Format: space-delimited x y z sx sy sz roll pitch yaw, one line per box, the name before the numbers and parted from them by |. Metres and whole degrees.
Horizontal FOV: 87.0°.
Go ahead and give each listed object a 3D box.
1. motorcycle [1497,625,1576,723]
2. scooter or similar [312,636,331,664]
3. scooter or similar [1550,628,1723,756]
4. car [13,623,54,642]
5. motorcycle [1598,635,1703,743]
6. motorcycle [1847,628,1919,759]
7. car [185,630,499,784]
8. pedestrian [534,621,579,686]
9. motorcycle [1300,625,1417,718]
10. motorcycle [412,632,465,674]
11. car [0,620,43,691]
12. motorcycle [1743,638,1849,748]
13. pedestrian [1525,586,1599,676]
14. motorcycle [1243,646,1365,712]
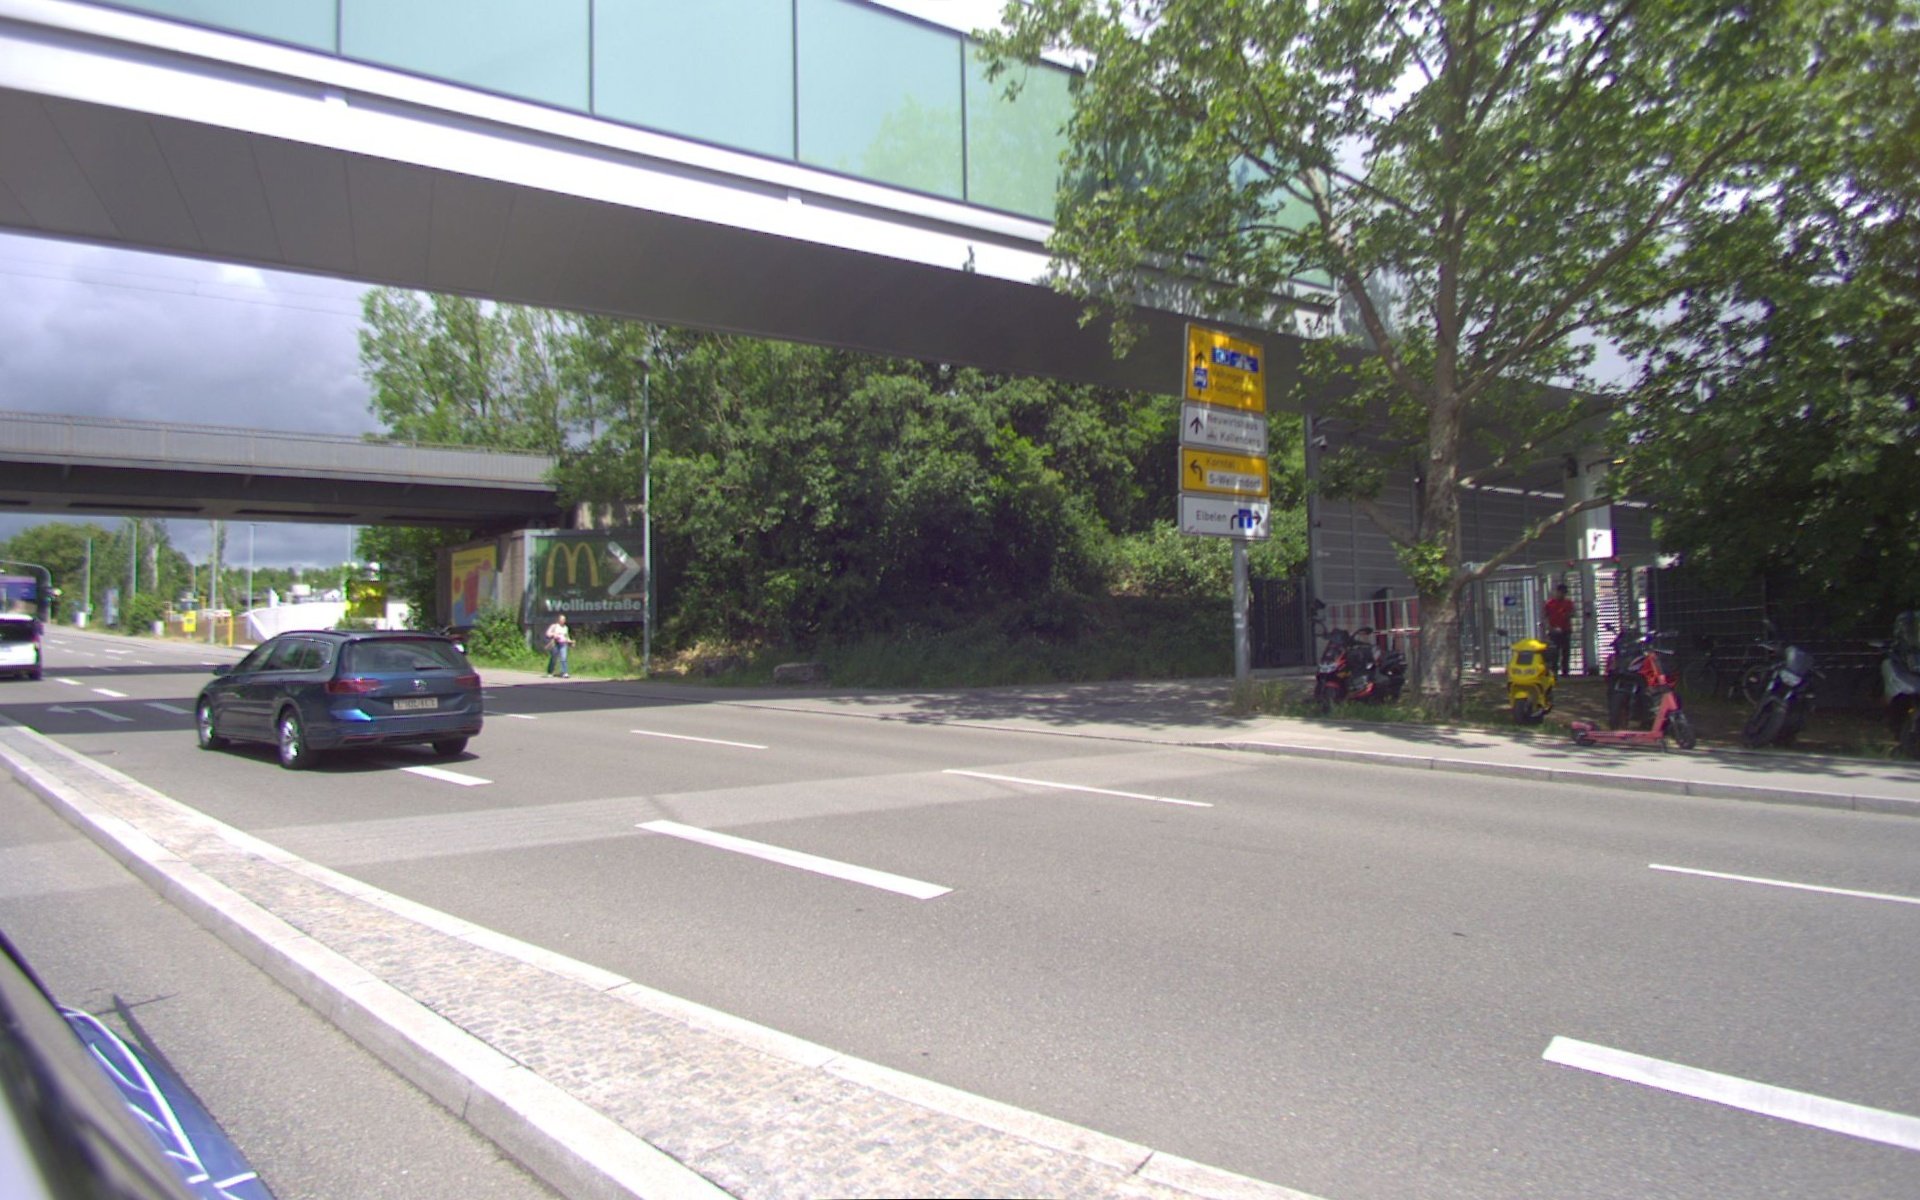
motorcycle | 7.493 0.933 13.117 0.773 1.131 1.579 -4 -1 32
scooter or similar | -25.606 1.999 40.582 0.470 1.129 1.387 2 -3 -37
scooter or similar | 7.125 0.931 10.699 1.479 1.245 0.350 -1 0 41
car | -69.412 2.434 75.795 4.000 1.364 1.972 -2 -3 43
motorcycle | 8.344 1.037 12.205 0.776 1.131 1.574 -4 -2 42
motorcycle | 9.921 0.920 10.378 0.849 1.188 1.734 -4 -1 30
car | -7.300 1.099 11.777 4.473 1.464 1.692 -2 -2 38
pedestrian | -10.445 1.373 26.206 0.813 1.624 0.760 -2 0 40
motorcycle | 5.713 0.991 14.468 1.720 1.180 0.777 -2 -2 -41
motorcycle | -16.081 1.618 31.166 2.256 1.207 0.633 -1 1 41
car | -26.283 1.452 27.241 4.975 1.794 1.789 -2 -2 41
motorcycle | 9.266 0.993 11.199 0.776 1.041 1.574 -4 -2 42
pedestrian | 11.704 0.603 19.706 0.875 1.714 0.982 -1 -2 8
motorcycle | 5.299 1.192 15.585 1.718 0.875 0.778 -2 -1 -29
